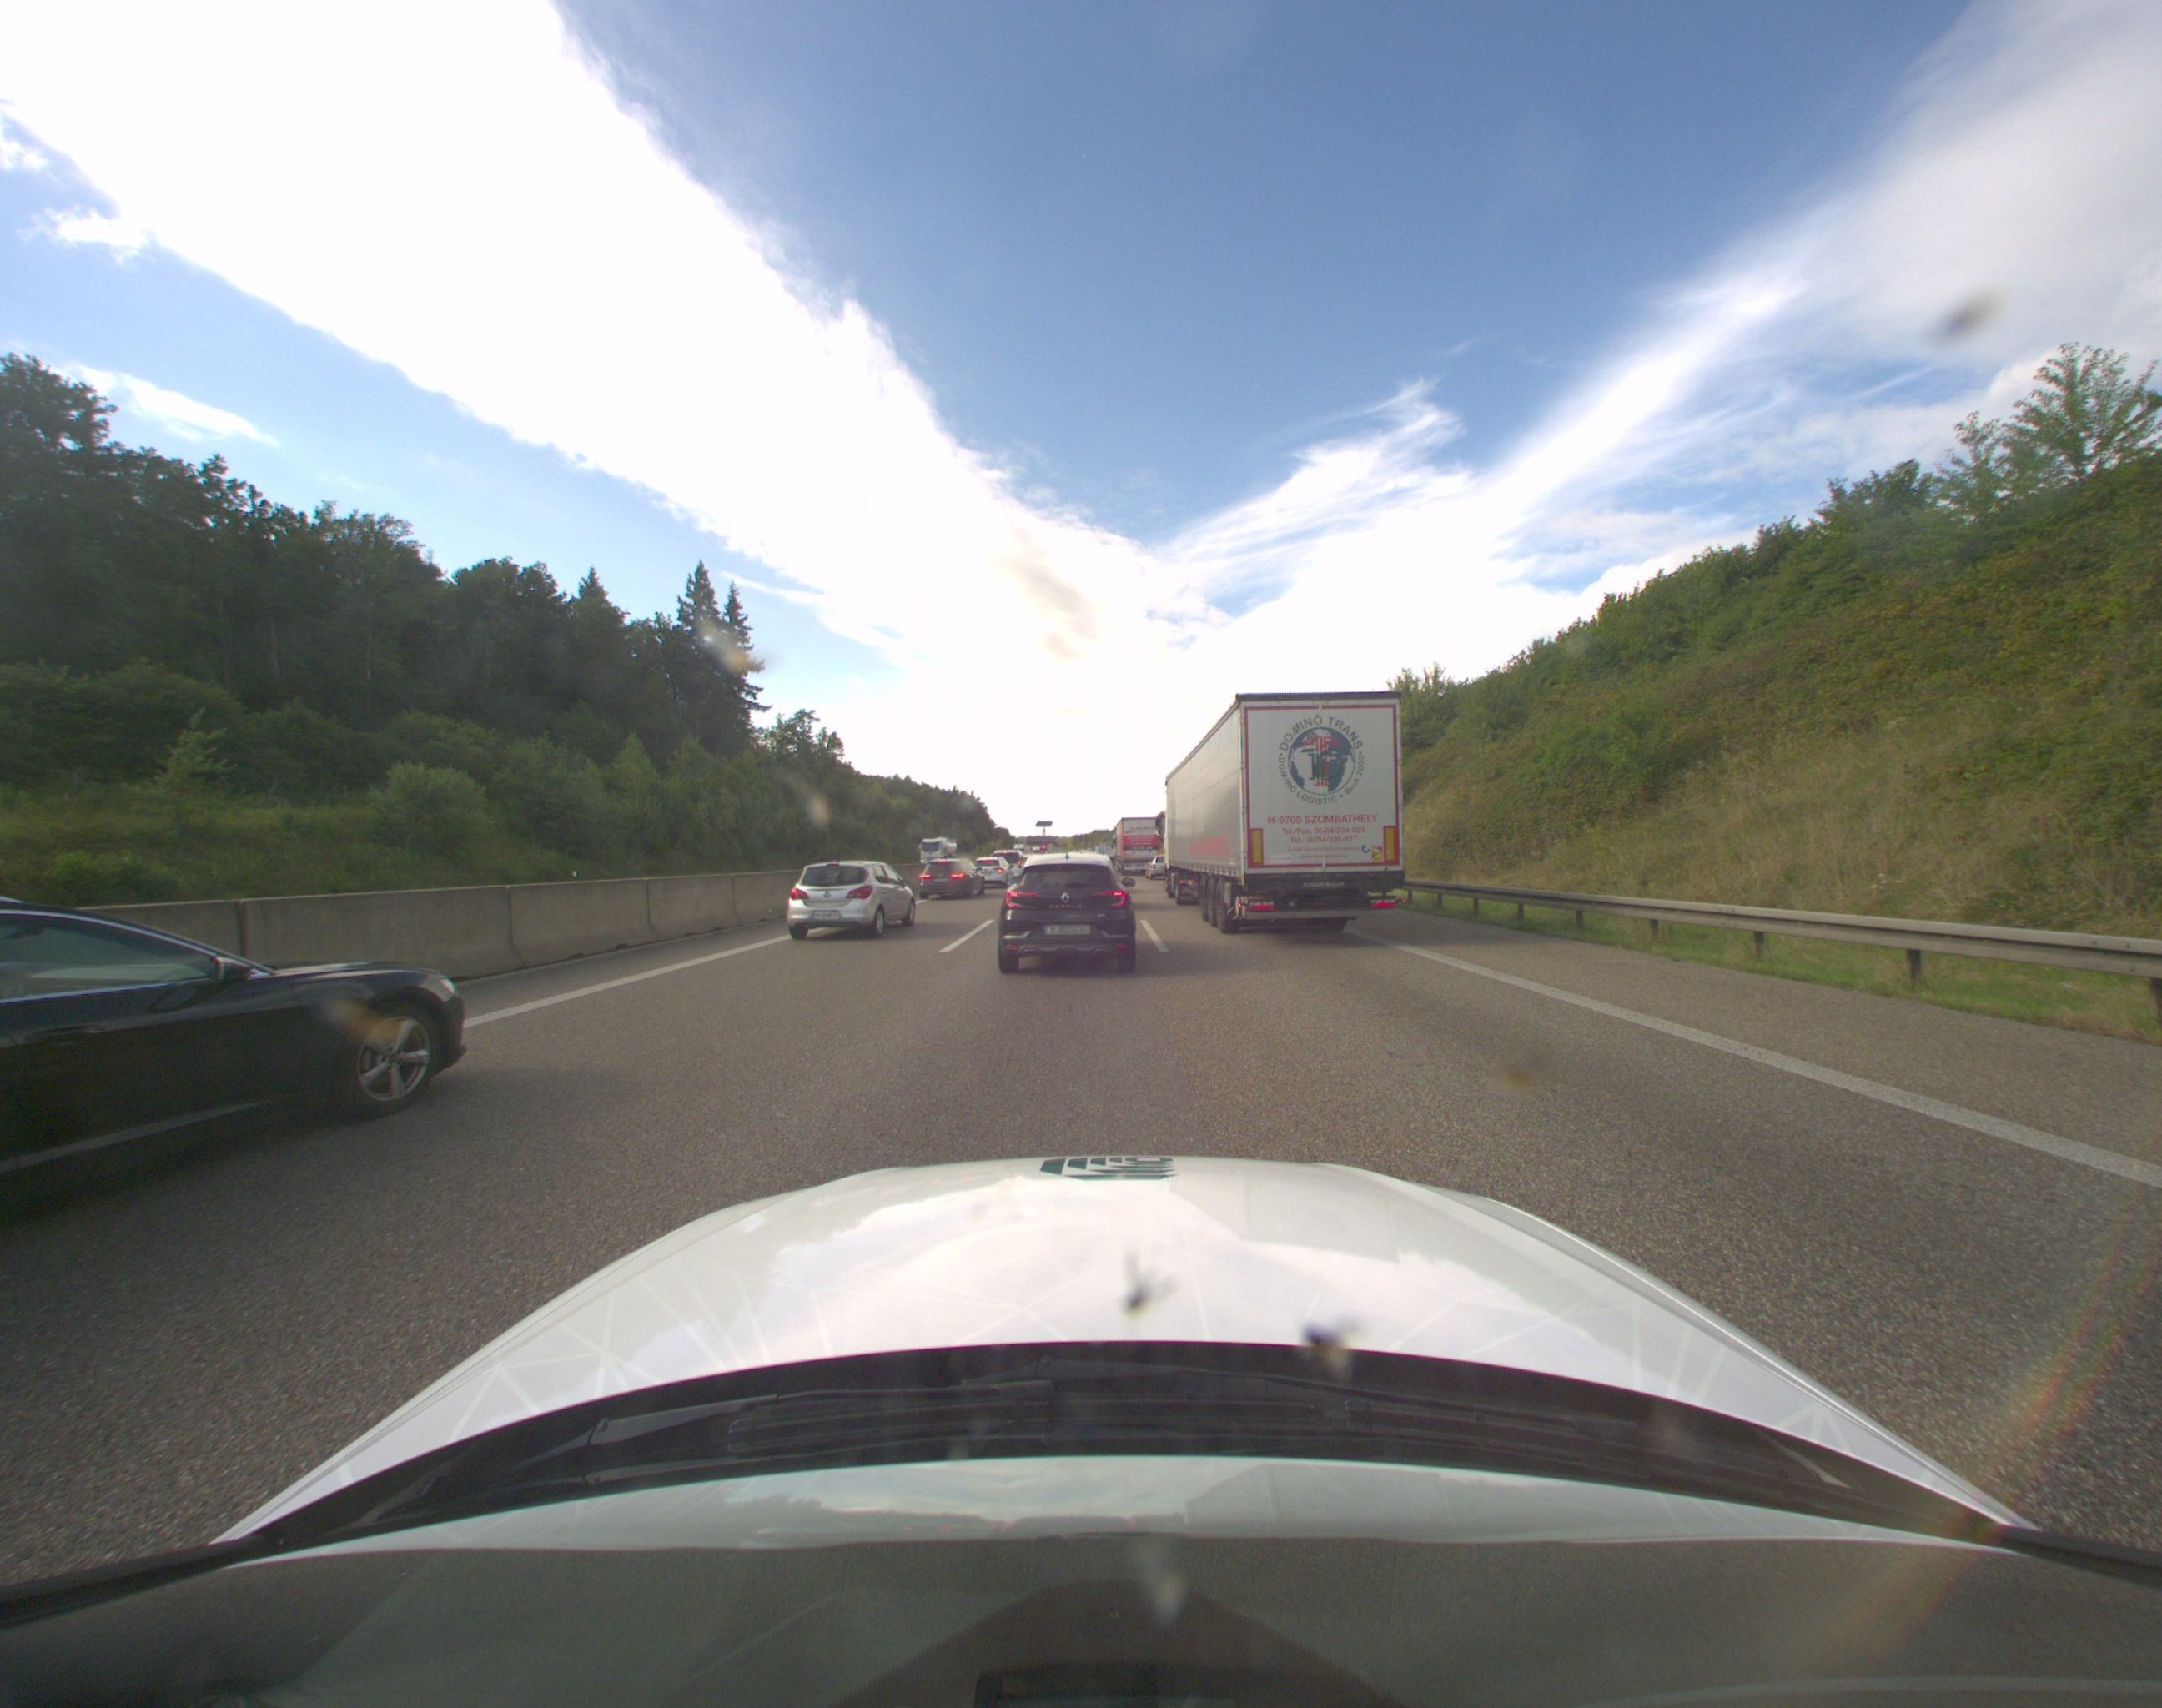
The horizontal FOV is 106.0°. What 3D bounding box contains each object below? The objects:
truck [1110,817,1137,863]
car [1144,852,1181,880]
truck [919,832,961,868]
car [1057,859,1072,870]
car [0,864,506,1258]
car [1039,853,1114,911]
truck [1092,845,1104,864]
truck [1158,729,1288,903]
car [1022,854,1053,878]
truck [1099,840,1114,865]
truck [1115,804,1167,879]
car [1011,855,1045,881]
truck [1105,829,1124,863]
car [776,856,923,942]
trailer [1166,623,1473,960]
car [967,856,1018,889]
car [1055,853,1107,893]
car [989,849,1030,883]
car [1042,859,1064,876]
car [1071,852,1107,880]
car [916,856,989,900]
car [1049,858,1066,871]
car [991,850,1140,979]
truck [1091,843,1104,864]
[{"bbox_3d":[5.247,-1.600,103.653,3.155,5.505,12.742,0,-1,2],"label":"truck"},{"bbox_3d":[4.753,0.689,48.109,1.799,1.533,3.925,0,-1,0],"label":"car"},{"bbox_3d":[-18.144,-0.454,105.817,2.922,4.354,13.910,0,-1,0],"label":"truck"},{"bbox_3d":[-2.436,1.512,120.904,1.986,1.613,4.001,-1,0,1],"label":"car"},{"bbox_3d":[-5.062,0.814,3.298,1.875,1.471,4.854,0,0,2],"label":"car"},{"bbox_3d":[-0.059,0.766,23.606,1.986,1.514,4.001,0,-1,1],"label":"car"},{"bbox_3d":[5.023,0.156,236.136,3.155,5.505,12.742,0,-1,2],"label":"truck"},{"bbox_3d":[4.126,-1.030,25.009,2.987,4.667,5.940,-1,0,1],"label":"truck"},{"bbox_3d":[-3.221,0.894,60.796,1.986,1.722,4.001,0,-1,1],"label":"car"},{"bbox_3d":[5.439,-0.172,175.149,3.155,5.159,12.742,0,-1,2],"label":"truck"},{"bbox_3d":[4.275,-0.792,61.038,3.352,5.044,12.742,0,-1,2],"label":"truck"},{"bbox_3d":[-3.496,0.926,53.999,1.848,1.641,3.927,0,-1,2],"label":"car"},{"bbox_3d":[5.850,-1.237,140.106,3.153,5.505,12.747,0,-1,3],"label":"truck"},{"bbox_3d":[-4.567,0.820,16.694,1.741,1.465,4.041,-1,0,1],"label":"car"},{"bbox_3d":[4.007,-0.883,17.971,2.992,4.661,13.290,-1,0,1],"label":"trailer"},{"bbox_3d":[-4.161,0.833,38.931,1.797,1.461,4.310,-1,0,2],"label":"car"},{"bbox_3d":[0.045,0.757,33.086,1.986,1.514,4.001,0,-1,1],"label":"car"},{"bbox_3d":[-3.962,0.648,45.977,1.905,1.789,4.417,0,-1,0],"label":"car"},{"bbox_3d":[-2.794,1.344,82.890,1.986,1.613,4.001,-1,0,1],"label":"car"},{"bbox_3d":[0.508,0.681,47.261,1.986,1.514,4.001,0,-1,1],"label":"car"},{"bbox_3d":[-4.666,0.822,30.207,1.836,1.456,4.749,0,0,1],"label":"car"},{"bbox_3d":[-3.064,1.415,108.403,1.986,1.613,4.001,-1,0,1],"label":"car"},{"bbox_3d":[-0.073,0.744,11.949,1.797,1.552,4.004,-1,0,3],"label":"car"},{"bbox_3d":[4.529,0.008,217.653,3.155,5.505,12.742,0,-1,2],"label":"truck"}]
